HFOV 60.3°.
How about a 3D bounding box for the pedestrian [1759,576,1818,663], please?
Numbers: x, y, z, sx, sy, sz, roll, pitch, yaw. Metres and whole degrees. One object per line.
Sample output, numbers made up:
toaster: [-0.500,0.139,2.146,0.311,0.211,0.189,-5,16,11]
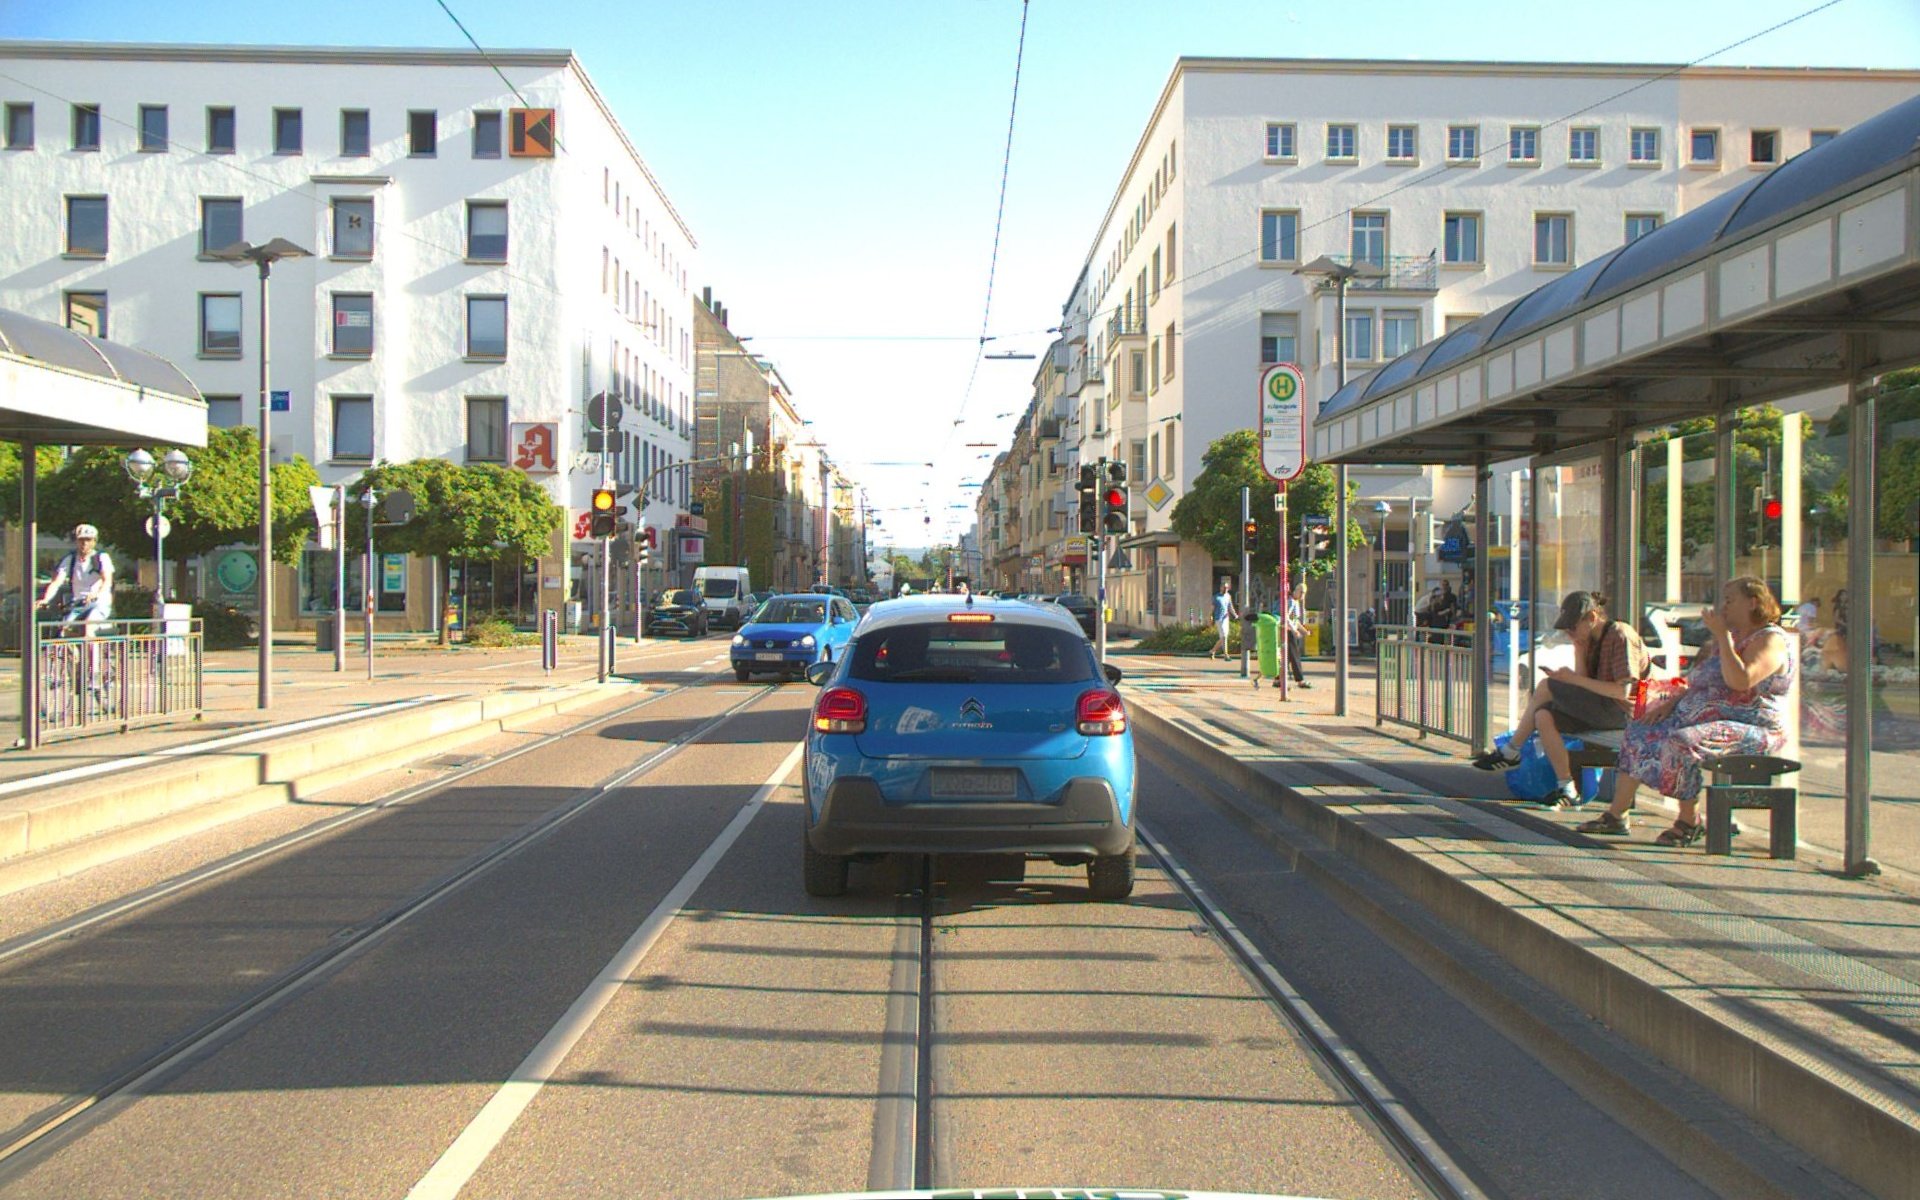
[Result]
pedestrian: [16.449,0.378,32.856,0.882,1.714,0.696,0,0,10]

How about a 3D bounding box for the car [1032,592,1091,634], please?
car: [3.702,0.459,61.021,1.953,1.489,4.000,0,0,0]

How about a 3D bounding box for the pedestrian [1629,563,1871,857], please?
pedestrian: [3.883,0.524,8.178,0.841,1.357,0.623,3,-1,-1]

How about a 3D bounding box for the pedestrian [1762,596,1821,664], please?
pedestrian: [16.177,0.577,32.182,0.882,1.302,0.605,0,0,7]

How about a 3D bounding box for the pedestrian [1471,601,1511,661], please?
pedestrian: [13.222,0.762,41.178,0.715,1.434,0.755,1,3,-1]

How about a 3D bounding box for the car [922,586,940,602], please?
car: [-3.448,-0.702,195.858,1.954,1.809,3.996,0,0,-5]

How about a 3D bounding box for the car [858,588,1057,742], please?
car: [-0.055,0.634,18.755,1.944,1.490,4.815,1,0,-1]

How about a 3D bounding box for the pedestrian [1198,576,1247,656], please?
pedestrian: [6.376,0.400,40.178,0.961,1.910,1.128,0,-1,-3]

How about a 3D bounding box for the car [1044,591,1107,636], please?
car: [3.935,0.449,56.763,1.870,1.489,4.000,0,0,0]

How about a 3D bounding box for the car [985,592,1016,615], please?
car: [2.756,0.219,113.889,1.953,1.579,3.999,0,0,-1]

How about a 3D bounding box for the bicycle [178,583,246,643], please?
bicycle: [-21.286,0.355,47.137,0.605,1.635,2.621,0,0,4]

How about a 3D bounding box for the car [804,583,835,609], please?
car: [-11.116,-0.292,131.091,1.965,2.049,4.690,1,0,1]

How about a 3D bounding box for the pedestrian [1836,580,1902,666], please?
pedestrian: [17.168,0.426,31.250,0.882,1.613,0.662,0,0,3]

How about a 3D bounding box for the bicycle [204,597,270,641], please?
bicycle: [-20.576,0.513,47.122,0.605,1.211,2.621,0,0,3]

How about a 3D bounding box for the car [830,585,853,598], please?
car: [-11.297,-0.809,157.839,1.953,1.176,4.000,0,0,0]

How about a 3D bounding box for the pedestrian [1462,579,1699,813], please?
pedestrian: [3.581,0.536,9.624,0.978,1.246,0.923,3,0,-1]

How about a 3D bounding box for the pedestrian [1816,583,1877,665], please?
pedestrian: [17.586,0.468,32.826,0.882,1.613,0.662,0,0,3]

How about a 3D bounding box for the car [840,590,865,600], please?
car: [-12.300,-0.591,189.141,1.951,1.176,4.518,0,0,9]

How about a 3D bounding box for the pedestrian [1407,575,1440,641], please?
pedestrian: [13.145,0.228,46.932,0.768,1.871,0.678,0,0,2]

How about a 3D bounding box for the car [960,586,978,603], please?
car: [0.959,-0.555,177.886,1.953,1.803,3.999,0,0,-1]

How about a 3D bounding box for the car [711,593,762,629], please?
car: [-9.926,0.494,73.586,1.850,1.522,3.560,1,0,-2]

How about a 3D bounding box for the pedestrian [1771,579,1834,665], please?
pedestrian: [16.026,0.407,31.473,0.882,1.613,0.662,0,0,3]

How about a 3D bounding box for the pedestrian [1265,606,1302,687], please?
pedestrian: [5.103,0.728,26.108,0.546,1.247,0.527,1,-1,10]

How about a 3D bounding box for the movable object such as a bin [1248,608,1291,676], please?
movable object such as a bin: [3.711,0.495,19.863,0.439,0.800,0.489,0,0,2]

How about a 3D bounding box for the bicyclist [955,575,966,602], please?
bicyclist: [0.007,-0.873,126.685,0.793,2.049,0.922,1,-1,-1]

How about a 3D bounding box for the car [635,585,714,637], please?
car: [-9.715,0.368,56.574,1.953,1.596,4.401,3,0,-2]

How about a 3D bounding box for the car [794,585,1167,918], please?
car: [0.069,0.690,9.517,1.693,1.508,3.826,1,0,-1]

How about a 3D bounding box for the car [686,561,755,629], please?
car: [-9.634,-0.196,66.936,2.043,2.586,6.203,1,0,-2]

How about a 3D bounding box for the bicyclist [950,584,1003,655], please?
bicyclist: [0.349,0.420,35.310,0.863,1.481,0.824,1,-1,-24]

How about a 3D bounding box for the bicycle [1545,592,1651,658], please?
bicycle: [15.923,0.618,41.330,2.336,1.558,0.726,2,0,-2]

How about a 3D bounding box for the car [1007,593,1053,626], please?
car: [3.243,0.413,77.331,1.953,1.489,4.000,0,0,0]

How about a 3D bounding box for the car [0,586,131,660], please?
car: [-22.358,0.540,39.780,3.906,1.736,1.825,0,0,-1]

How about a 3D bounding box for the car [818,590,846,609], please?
car: [-10.890,-0.046,140.779,1.914,1.579,3.939,1,0,1]

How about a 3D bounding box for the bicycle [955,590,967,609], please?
bicycle: [0.042,-0.061,126.551,0.901,1.413,3.131,0,0,0]

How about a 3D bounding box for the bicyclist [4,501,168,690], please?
bicyclist: [-8.762,-0.046,16.617,0.982,1.824,1.096,0,0,11]

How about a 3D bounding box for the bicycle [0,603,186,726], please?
bicycle: [-8.767,0.612,16.642,0.696,1.145,2.038,0,0,12]

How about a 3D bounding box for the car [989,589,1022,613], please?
car: [2.913,0.065,106.392,1.953,1.489,4.504,0,0,0]

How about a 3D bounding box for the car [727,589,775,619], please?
car: [-10.401,0.187,82.433,1.953,1.422,4.155,1,0,-2]

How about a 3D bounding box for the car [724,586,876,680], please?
car: [-2.751,0.537,29.317,1.631,1.513,4.003,1,0,10]

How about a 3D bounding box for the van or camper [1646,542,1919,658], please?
van or camper: [21.011,-0.029,41.059,6.976,2.795,2.371,0,2,0]

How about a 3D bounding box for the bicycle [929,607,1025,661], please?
bicycle: [0.360,0.714,35.321,1.944,1.132,0.725,1,0,-25]

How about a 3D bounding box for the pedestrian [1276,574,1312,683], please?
pedestrian: [5.497,0.466,27.248,0.546,1.775,0.527,1,-1,10]

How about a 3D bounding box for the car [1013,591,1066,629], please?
car: [3.206,0.392,67.250,1.953,1.527,4.000,0,0,0]

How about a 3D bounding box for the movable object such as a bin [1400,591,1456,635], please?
movable object such as a bin: [12.634,0.339,44.681,1.174,1.173,1.217,0,0,0]

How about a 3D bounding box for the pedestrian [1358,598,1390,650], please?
pedestrian: [10.878,0.626,43.455,0.725,1.339,0.628,0,0,23]
